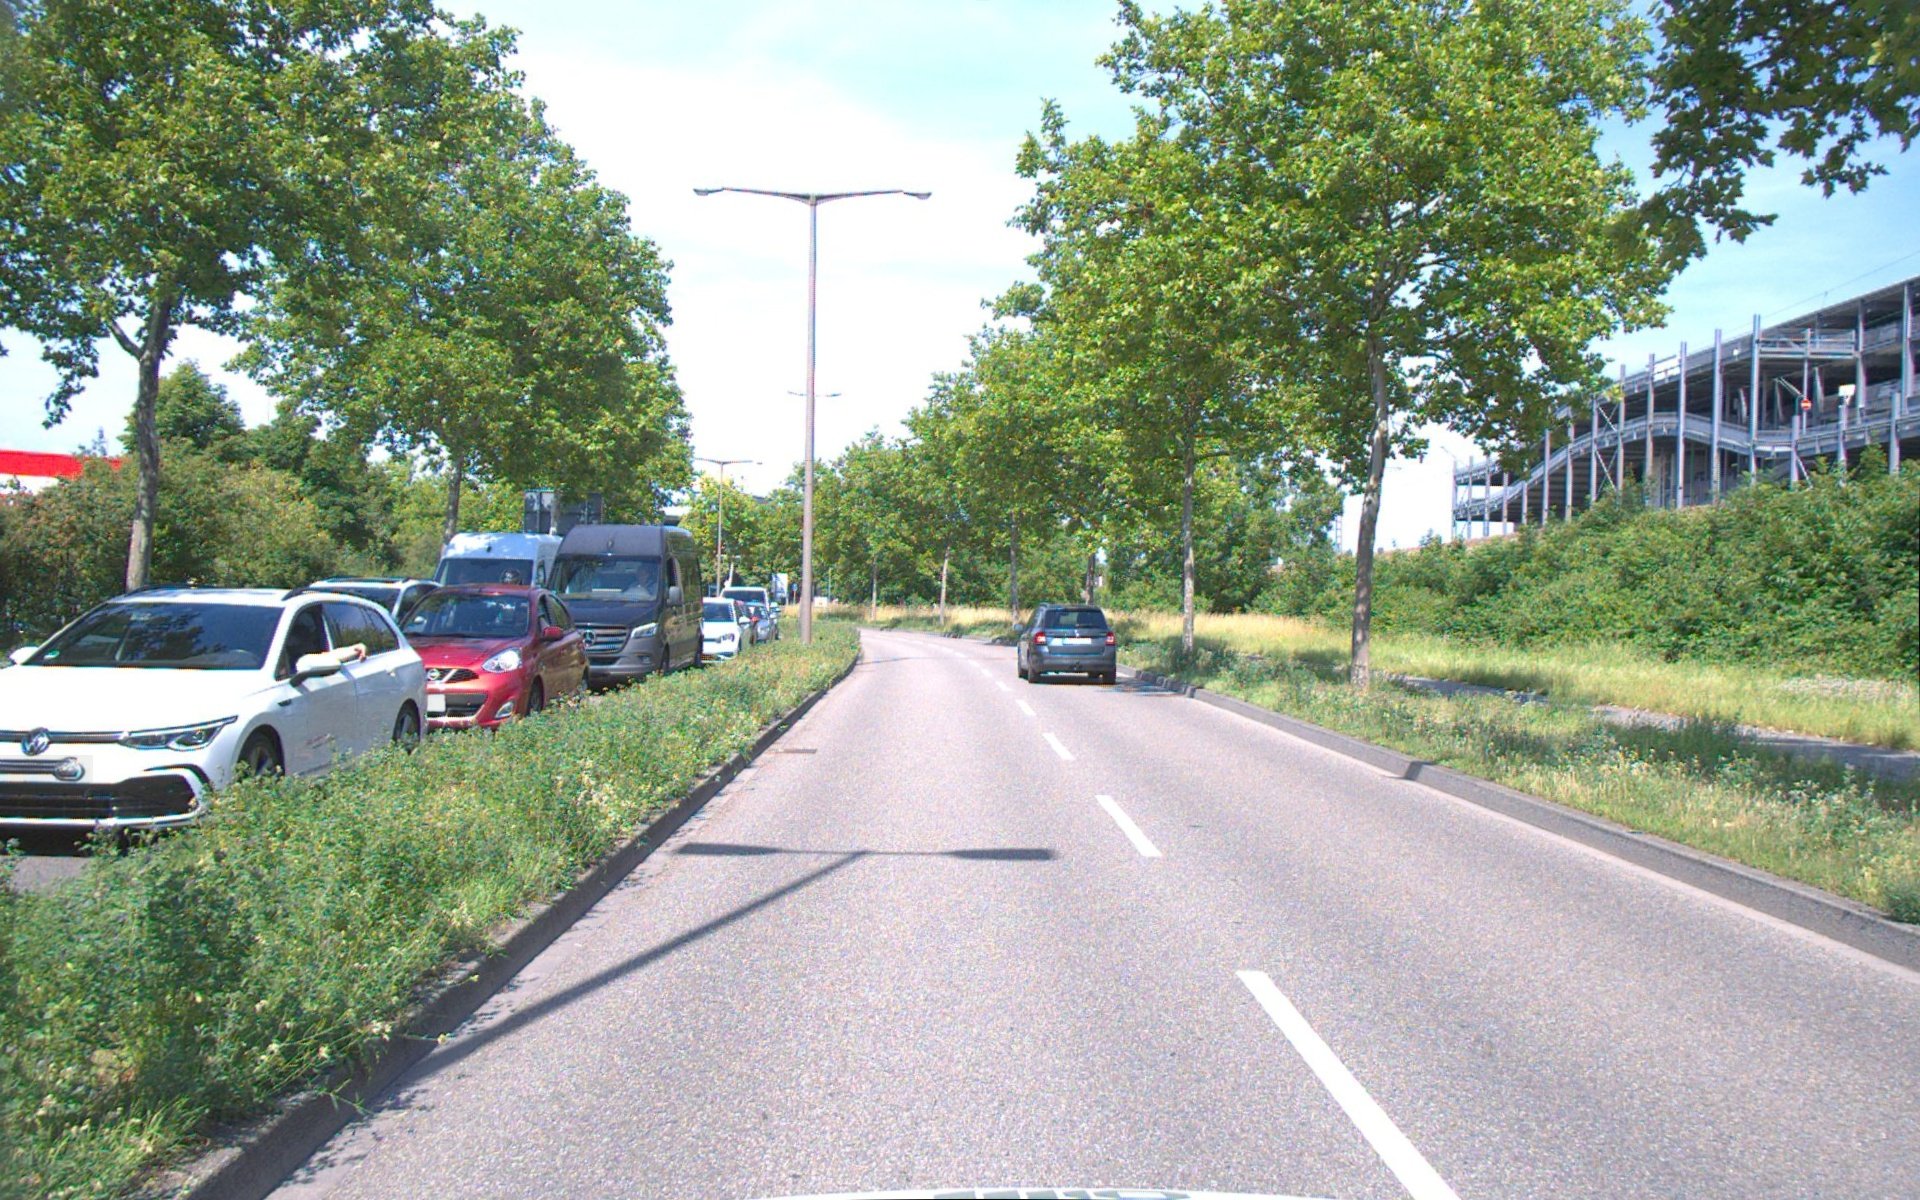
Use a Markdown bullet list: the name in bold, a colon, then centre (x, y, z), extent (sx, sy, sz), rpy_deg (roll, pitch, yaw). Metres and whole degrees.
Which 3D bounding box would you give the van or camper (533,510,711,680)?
- **van or camper**: centre (-5.235, -0.050, 26.335), extent (1.899, 2.410, 5.395), rpy_deg (1, -1, -2)

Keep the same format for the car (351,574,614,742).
- **car**: centre (-4.806, 0.526, 17.181), extent (1.654, 1.537, 3.814), rpy_deg (1, 0, -1)

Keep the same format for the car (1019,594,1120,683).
- **car**: centre (2.039, 0.713, 31.753), extent (1.640, 1.478, 4.036), rpy_deg (4, -1, 1)

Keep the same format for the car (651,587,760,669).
- **car**: centre (-5.147, 0.560, 33.821), extent (1.654, 1.557, 3.813), rpy_deg (1, -1, -1)

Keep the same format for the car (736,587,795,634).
- **car**: centre (-6.770, 0.346, 57.812), extent (1.654, 1.557, 3.814), rpy_deg (1, 0, -1)

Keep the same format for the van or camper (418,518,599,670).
- **van or camper**: centre (-8.483, -0.120, 31.604), extent (1.974, 2.633, 5.516), rpy_deg (1, 0, -1)

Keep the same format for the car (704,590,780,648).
- **car**: centre (-6.109, 0.539, 46.652), extent (1.654, 1.557, 3.813), rpy_deg (1, -1, -1)

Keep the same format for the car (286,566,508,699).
- **car**: centre (-8.173, 0.440, 24.426), extent (1.953, 1.786, 3.999), rpy_deg (1, 0, -1)

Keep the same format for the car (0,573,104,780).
- **car**: centre (-8.063, 0.568, 12.082), extent (1.654, 1.557, 3.814), rpy_deg (1, 0, -1)

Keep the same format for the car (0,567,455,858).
- **car**: centre (-4.836, 0.563, 10.775), extent (1.747, 1.484, 4.471), rpy_deg (1, 0, -1)
